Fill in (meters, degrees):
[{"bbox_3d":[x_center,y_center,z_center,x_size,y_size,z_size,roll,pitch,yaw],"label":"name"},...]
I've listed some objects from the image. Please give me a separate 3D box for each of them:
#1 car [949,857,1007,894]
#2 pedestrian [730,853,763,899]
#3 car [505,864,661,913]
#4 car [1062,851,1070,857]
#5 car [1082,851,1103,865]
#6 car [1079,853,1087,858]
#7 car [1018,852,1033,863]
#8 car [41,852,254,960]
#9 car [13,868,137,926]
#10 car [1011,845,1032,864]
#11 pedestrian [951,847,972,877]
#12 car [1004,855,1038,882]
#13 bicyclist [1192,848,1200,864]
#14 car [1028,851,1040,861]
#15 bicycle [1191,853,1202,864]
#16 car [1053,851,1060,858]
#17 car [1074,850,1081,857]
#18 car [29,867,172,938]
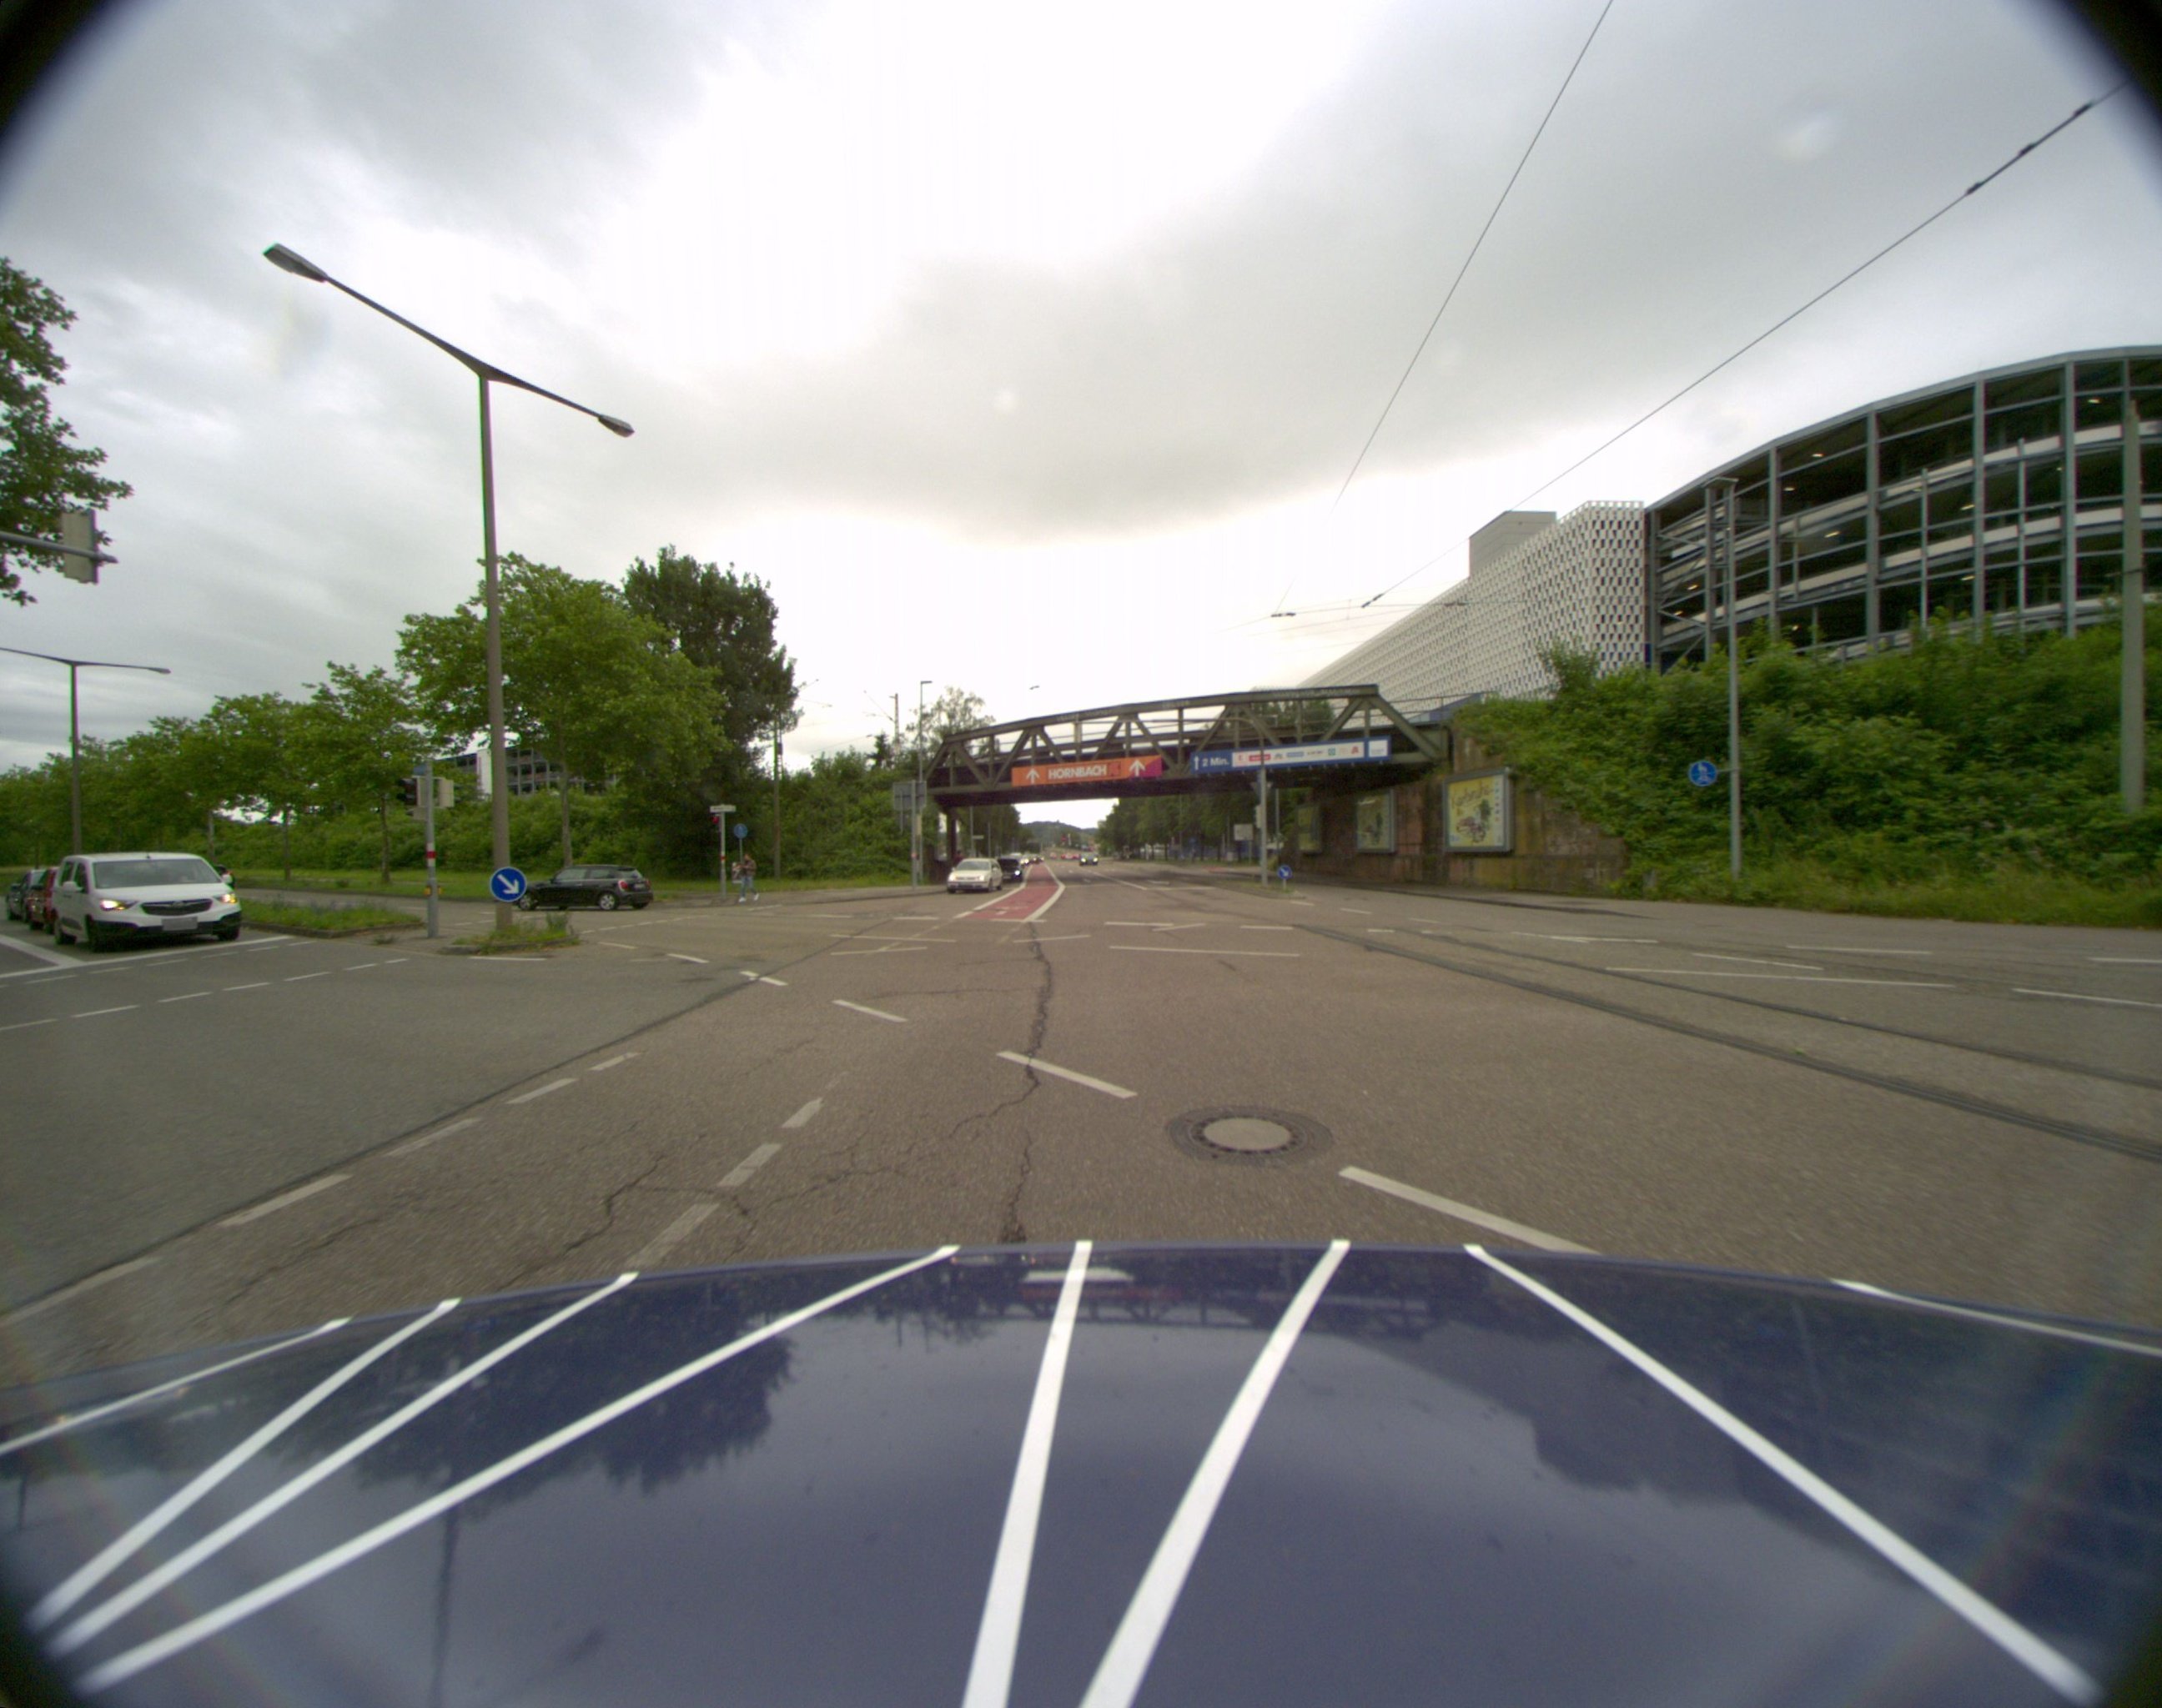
[{"bbox_3d":[-4.311,0.870,32.312,1.726,1.416,3.941,-2,0,3],"label":"car"},{"bbox_3d":[-12.171,0.806,27.668,0.742,1.630,0.780,0,1,36],"label":"pedestrian"},{"bbox_3d":[-15.365,1.055,23.546,3.770,1.423,1.685,-1,-1,3],"label":"car"},{"bbox_3d":[-4.489,-0.014,227.600,1.652,1.788,3.978,1,0,-10],"label":"car"},{"bbox_3d":[1.215,0.442,81.925,1.837,1.416,3.998,-2,0,-3],"label":"car"},{"bbox_3d":[0.428,0.379,195.235,1.681,1.420,3.648,0,0,-6],"label":"car"},{"bbox_3d":[-7.533,0.516,103.464,1.837,1.416,3.998,-2,0,-3],"label":"car"},{"bbox_3d":[-18.569,0.915,15.089,4.409,1.818,1.883,0,2,30],"label":"car"},{"bbox_3d":[-28.638,1.150,21.603,4.054,1.473,1.699,0,1,31],"label":"car"},{"bbox_3d":[-6.304,0.052,79.947,1.996,1.838,4.101,-1,0,-6],"label":"car"},{"bbox_3d":[-7.063,0.477,44.870,0.876,1.749,0.785,-2,1,-41],"label":"pedestrian"},{"bbox_3d":[-3.472,0.802,44.675,1.837,1.416,3.998,-2,0,-3],"label":"car"},{"bbox_3d":[13.684,0.178,90.354,0.704,1.864,1.019,-3,1,-3],"label":"bicyclist"},{"bbox_3d":[-7.468,0.330,120.401,1.837,1.416,3.998,-2,0,-3],"label":"car"},{"bbox_3d":[13.710,0.544,90.325,0.715,1.180,2.369,-3,1,-3],"label":"bicycle"},{"bbox_3d":[-7.329,0.156,229.577,1.652,1.788,3.977,0,0,-10],"label":"car"},{"bbox_3d":[-1.026,-0.161,214.877,1.772,1.913,4.906,0,0,-5],"label":"car"},{"bbox_3d":[-23.946,1.113,18.537,3.678,1.523,1.699,0,1,31],"label":"car"}]
